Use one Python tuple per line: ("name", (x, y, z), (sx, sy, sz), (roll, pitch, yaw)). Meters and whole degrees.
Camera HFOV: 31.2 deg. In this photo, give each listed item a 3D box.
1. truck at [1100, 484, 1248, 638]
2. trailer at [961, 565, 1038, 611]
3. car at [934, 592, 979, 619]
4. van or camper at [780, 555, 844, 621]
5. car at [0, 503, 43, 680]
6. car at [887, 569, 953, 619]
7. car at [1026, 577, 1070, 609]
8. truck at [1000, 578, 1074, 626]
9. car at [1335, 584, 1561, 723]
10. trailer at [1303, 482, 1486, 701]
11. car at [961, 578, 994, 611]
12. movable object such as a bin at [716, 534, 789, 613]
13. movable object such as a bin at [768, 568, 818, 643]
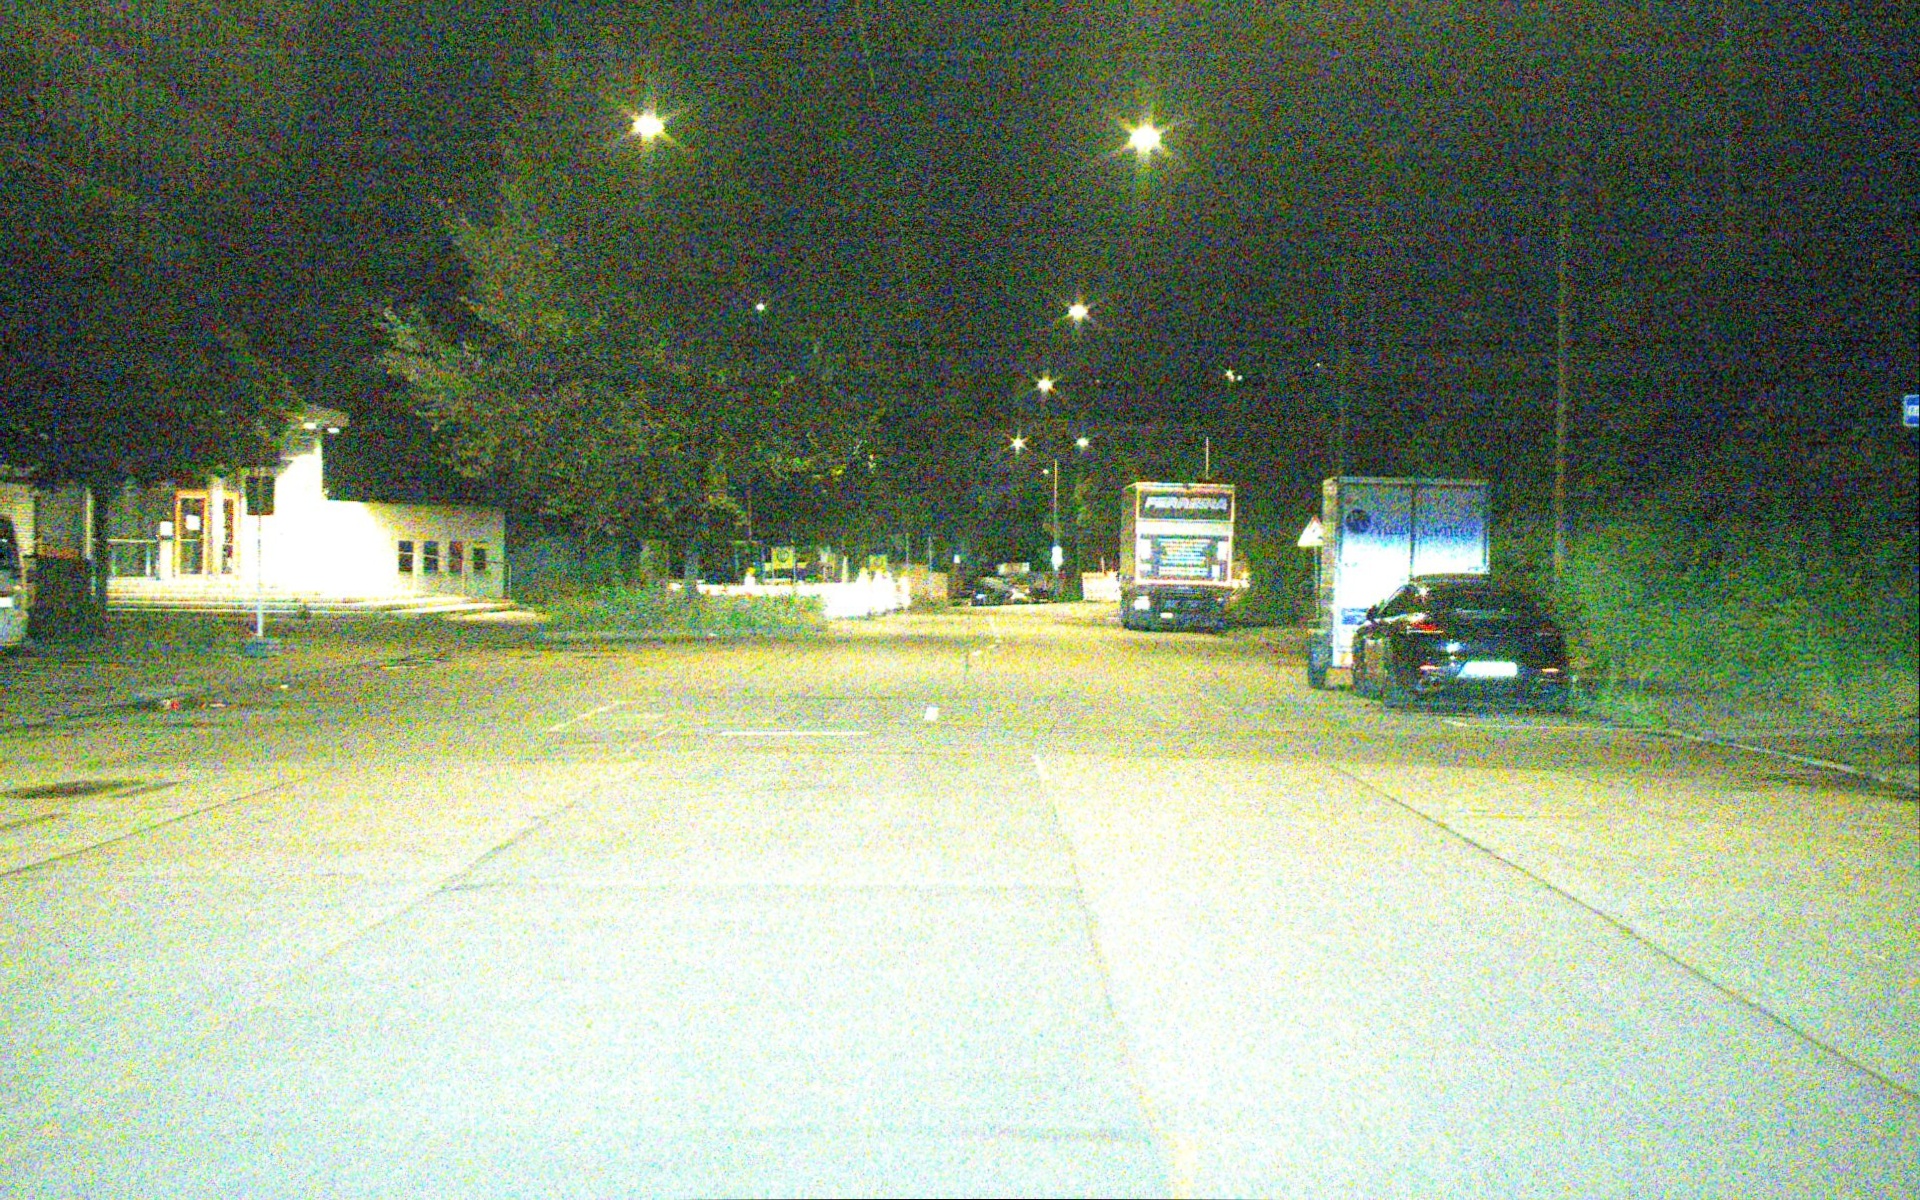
("truck", (5.679, -0.987, 92.892), (3.324, 3.855, 9.327), (2, 0, 0))
("trailer", (1.931, -0.600, 170.410), (1.559, 2.153, 5.222), (0, -1, -27))
("car", (-0.223, 0.371, 237.807), (1.995, 1.694, 4.203), (1, -1, 15))
("van or camper", (-7.153, -0.557, 167.152), (2.519, 3.084, 7.444), (-1, 0, 2))
("car", (-12.855, -0.169, 38.795), (4.432, 1.965, 2.000), (2, 0, 0))
("car", (-2.565, -0.367, 222.122), (2.520, 3.160, 7.133), (-1, 0, 14))
("car", (5.475, -0.423, 213.912), (1.722, 1.815, 3.997), (1, -1, 16))
("truck", (5.713, 0.178, 252.601), (1.996, 3.392, 8.967), (2, 1, 24))
("car", (5.395, 0.553, 38.514), (1.726, 1.382, 4.677), (2, 1, -1))
("trailer", (5.565, -0.124, 44.497), (1.994, 2.642, 4.000), (2, 0, 3))
("car", (0.957, -0.301, 185.388), (1.721, 1.655, 4.000), (2, -1, 1))
("movable object such as a bin", (-6.651, -0.828, 109.975), (1.548, 2.459, 2.840), (0, 0, -20))
("movable object such as a bin", (-6.303, 0.179, 129.696), (1.570, 2.725, 3.702), (-2, 1, -6))
